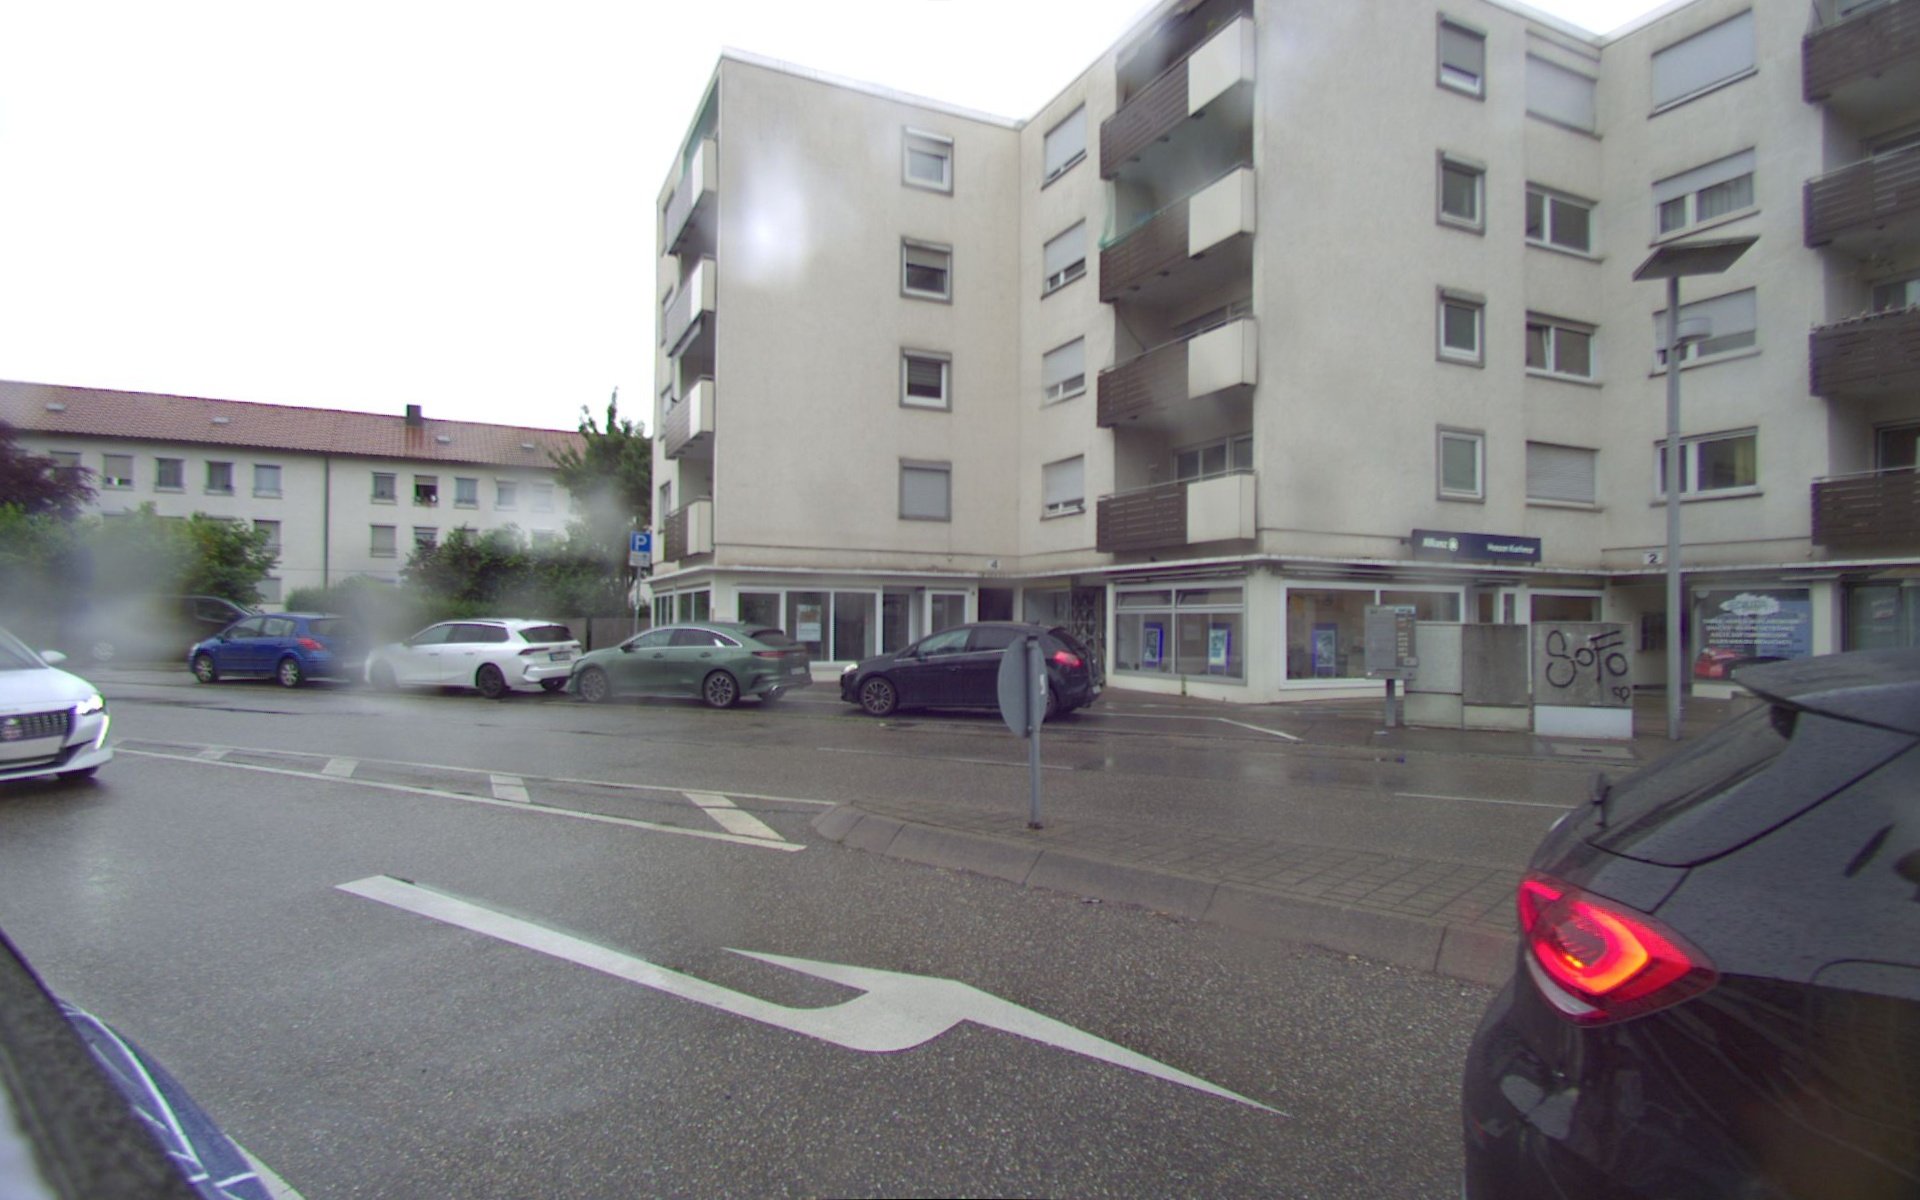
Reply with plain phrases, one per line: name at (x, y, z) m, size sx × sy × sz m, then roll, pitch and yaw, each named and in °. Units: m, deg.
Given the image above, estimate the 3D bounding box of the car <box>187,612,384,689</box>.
car at (-14.584, 1.045, 21.899) m, size 3.852 × 1.517 × 1.623 m, roll 0°, pitch -1°, yaw 21°

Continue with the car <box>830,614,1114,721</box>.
car at (0.212, 0.982, 16.023) m, size 4.157 × 1.471 × 1.825 m, roll 0°, pitch 0°, yaw 21°

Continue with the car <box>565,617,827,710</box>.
car at (-4.662, 1.049, 17.965) m, size 4.242 × 1.445 × 1.825 m, roll 0°, pitch 0°, yaw 20°

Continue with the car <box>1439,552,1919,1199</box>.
car at (2.781, 0.639, 0.736) m, size 4.091 × 1.492 × 1.646 m, roll -2°, pitch -1°, yaw 40°

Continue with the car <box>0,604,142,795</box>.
car at (-8.929, 0.785, 8.480) m, size 3.874 × 1.420 × 1.729 m, roll -1°, pitch 0°, yaw 25°

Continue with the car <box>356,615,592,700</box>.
car at (-9.489, 1.064, 19.782) m, size 4.314 × 1.511 × 1.626 m, roll 0°, pitch -1°, yaw 20°
